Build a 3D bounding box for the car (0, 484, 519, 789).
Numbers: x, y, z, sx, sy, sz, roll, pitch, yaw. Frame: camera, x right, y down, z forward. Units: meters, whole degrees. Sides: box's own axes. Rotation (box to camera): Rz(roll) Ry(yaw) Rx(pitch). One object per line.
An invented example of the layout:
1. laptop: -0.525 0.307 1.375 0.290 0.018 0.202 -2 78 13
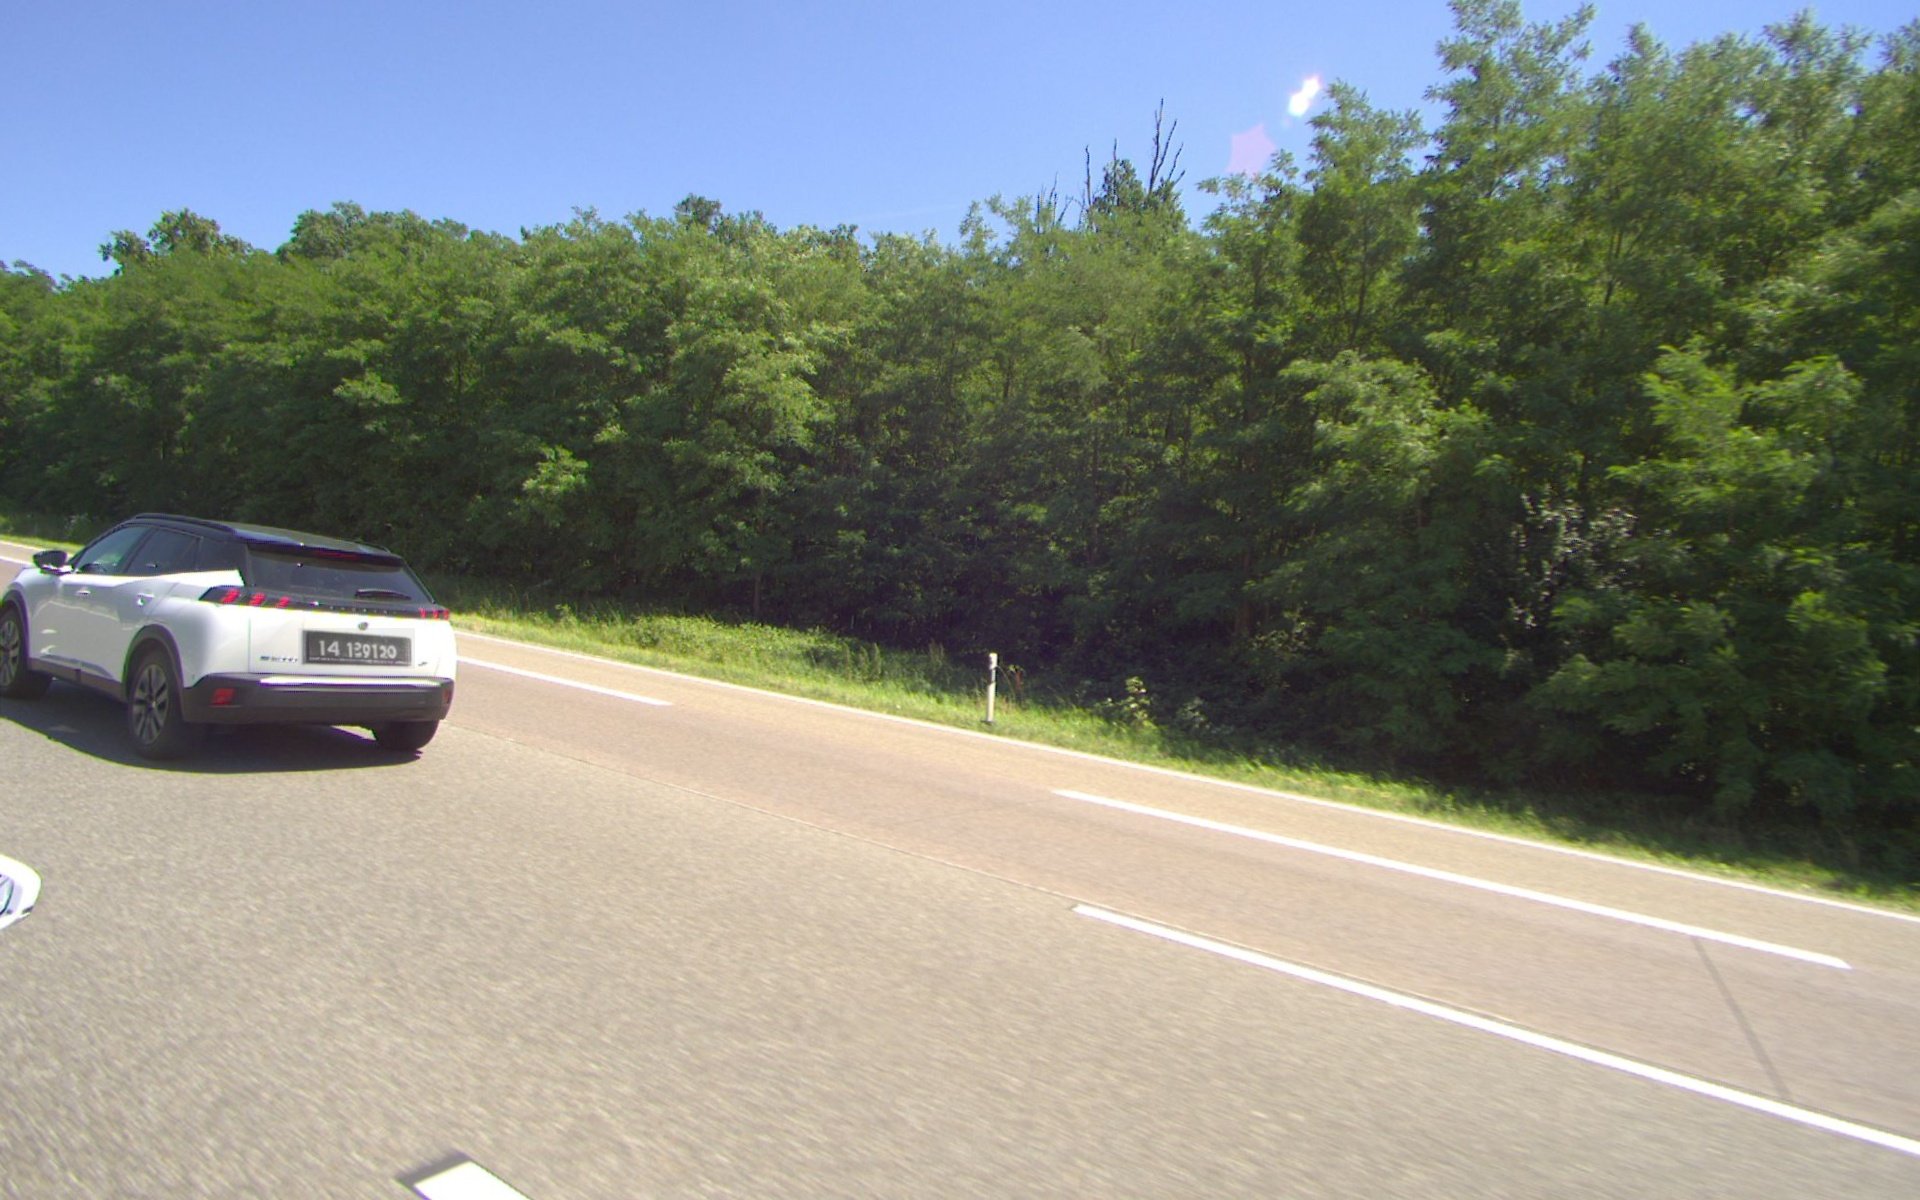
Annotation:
1. car: -5.759 0.130 7.767 4.729 1.627 1.830 6 -1 32
